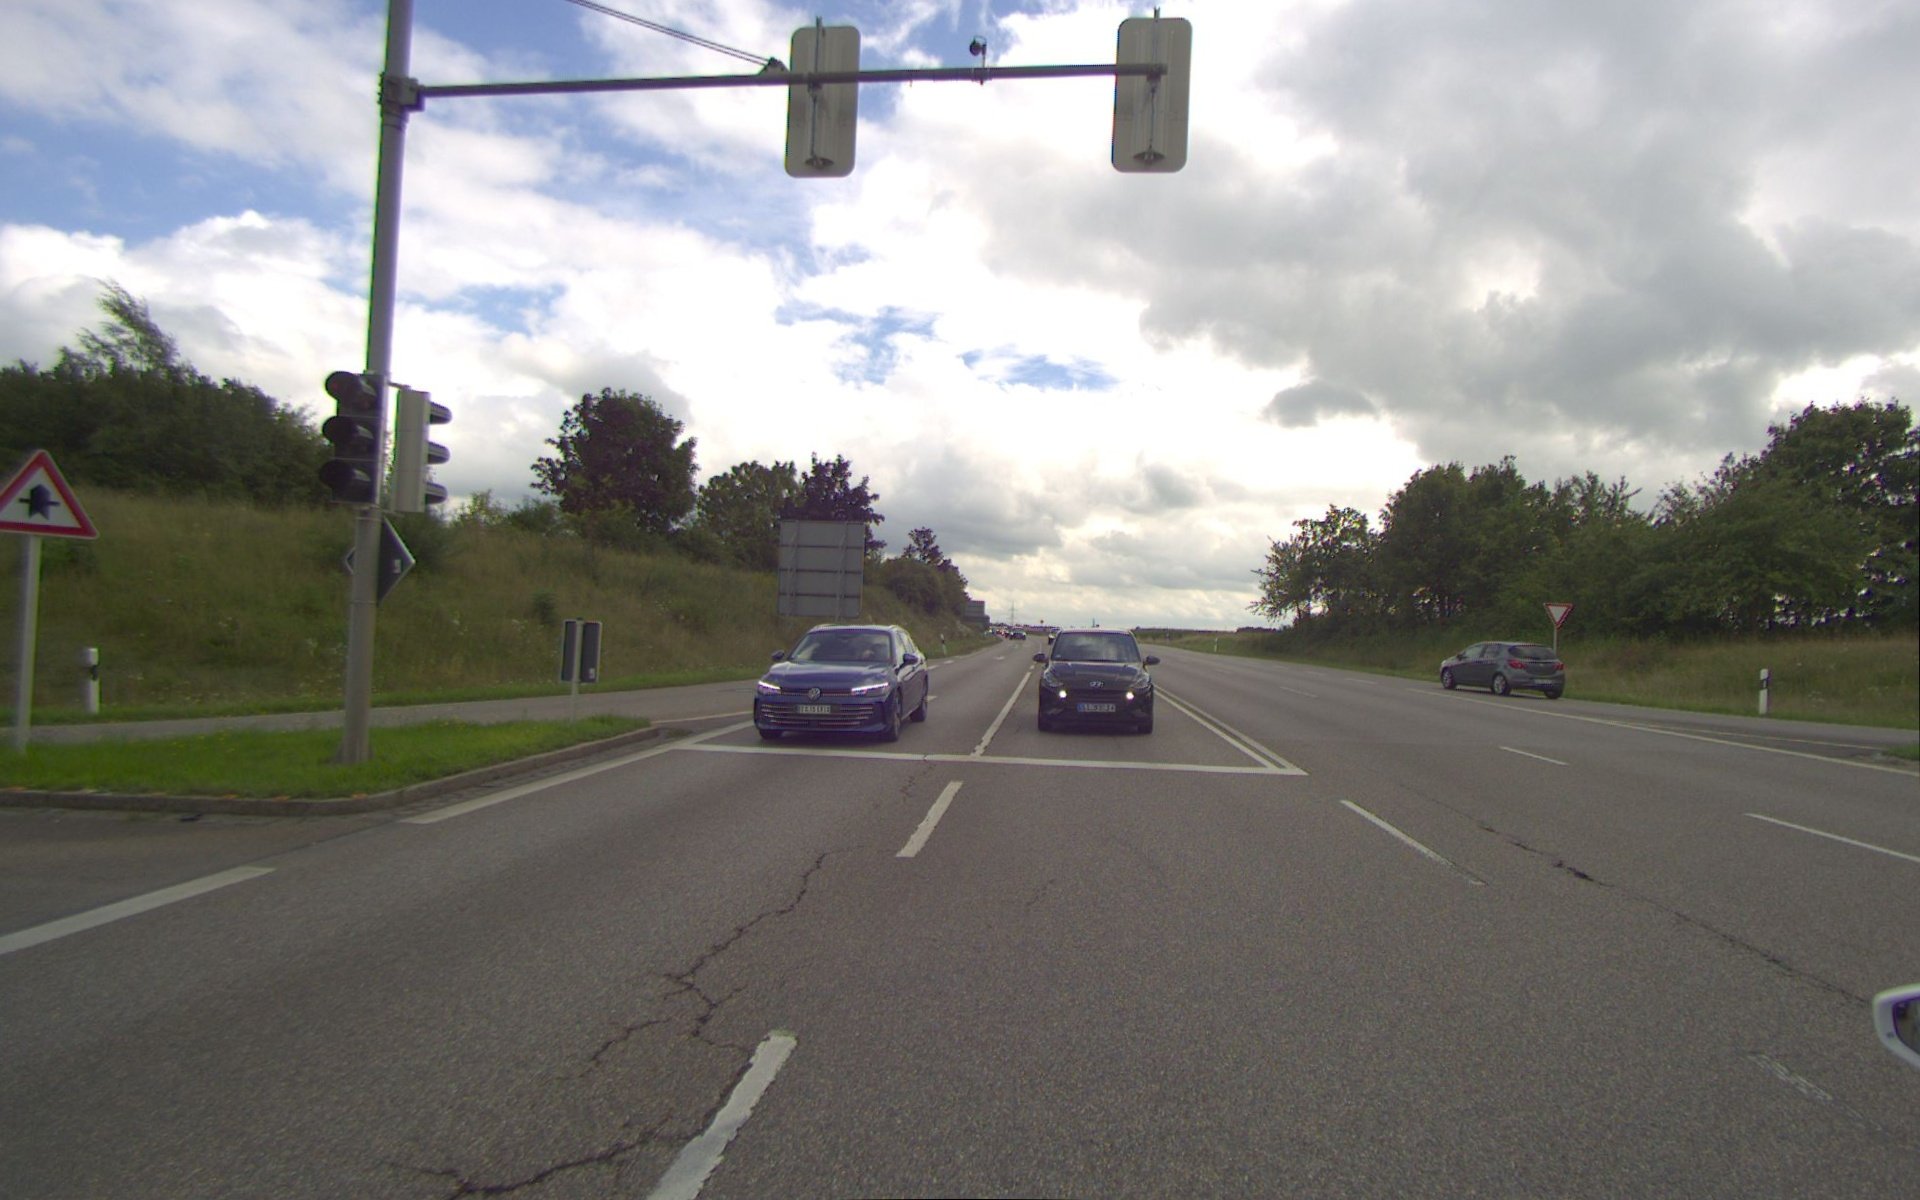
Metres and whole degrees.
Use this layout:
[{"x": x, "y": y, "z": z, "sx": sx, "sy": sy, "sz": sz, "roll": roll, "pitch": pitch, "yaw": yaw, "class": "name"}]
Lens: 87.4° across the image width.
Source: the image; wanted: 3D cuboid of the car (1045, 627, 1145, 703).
[{"x": 2.960, "y": 1.382, "z": 22.850, "sx": 2.013, "sy": 1.503, "sz": 4.885, "roll": 0, "pitch": -1, "yaw": 5, "class": "car"}]

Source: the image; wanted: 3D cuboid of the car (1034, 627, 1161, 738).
[{"x": 2.115, "y": 1.179, "z": 15.725, "sx": 1.696, "sy": 1.462, "sz": 3.946, "roll": 1, "pitch": -1, "yaw": 7, "class": "car"}]

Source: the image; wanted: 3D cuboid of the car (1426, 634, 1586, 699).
[{"x": 15.260, "y": 1.821, "z": 28.356, "sx": 1.963, "sy": 1.555, "sz": 3.995, "roll": 2, "pitch": -1, "yaw": -8, "class": "car"}]

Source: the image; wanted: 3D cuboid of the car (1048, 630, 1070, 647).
[{"x": 8.638, "y": 3.340, "z": 88.062, "sx": 1.735, "sy": 1.401, "sz": 4.546, "roll": 1, "pitch": -1, "yaw": 4, "class": "car"}]

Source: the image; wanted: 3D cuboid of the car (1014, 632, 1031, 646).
[{"x": 7.363, "y": 4.532, "z": 117.788, "sx": 1.960, "sy": 1.514, "sz": 4.995, "roll": 1, "pitch": -1, "yaw": 4, "class": "car"}]

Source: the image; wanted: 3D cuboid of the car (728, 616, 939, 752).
[{"x": -1.570, "y": 1.065, "z": 14.548, "sx": 2.011, "sy": 1.555, "sz": 5.129, "roll": 1, "pitch": -1, "yaw": 4, "class": "car"}]
